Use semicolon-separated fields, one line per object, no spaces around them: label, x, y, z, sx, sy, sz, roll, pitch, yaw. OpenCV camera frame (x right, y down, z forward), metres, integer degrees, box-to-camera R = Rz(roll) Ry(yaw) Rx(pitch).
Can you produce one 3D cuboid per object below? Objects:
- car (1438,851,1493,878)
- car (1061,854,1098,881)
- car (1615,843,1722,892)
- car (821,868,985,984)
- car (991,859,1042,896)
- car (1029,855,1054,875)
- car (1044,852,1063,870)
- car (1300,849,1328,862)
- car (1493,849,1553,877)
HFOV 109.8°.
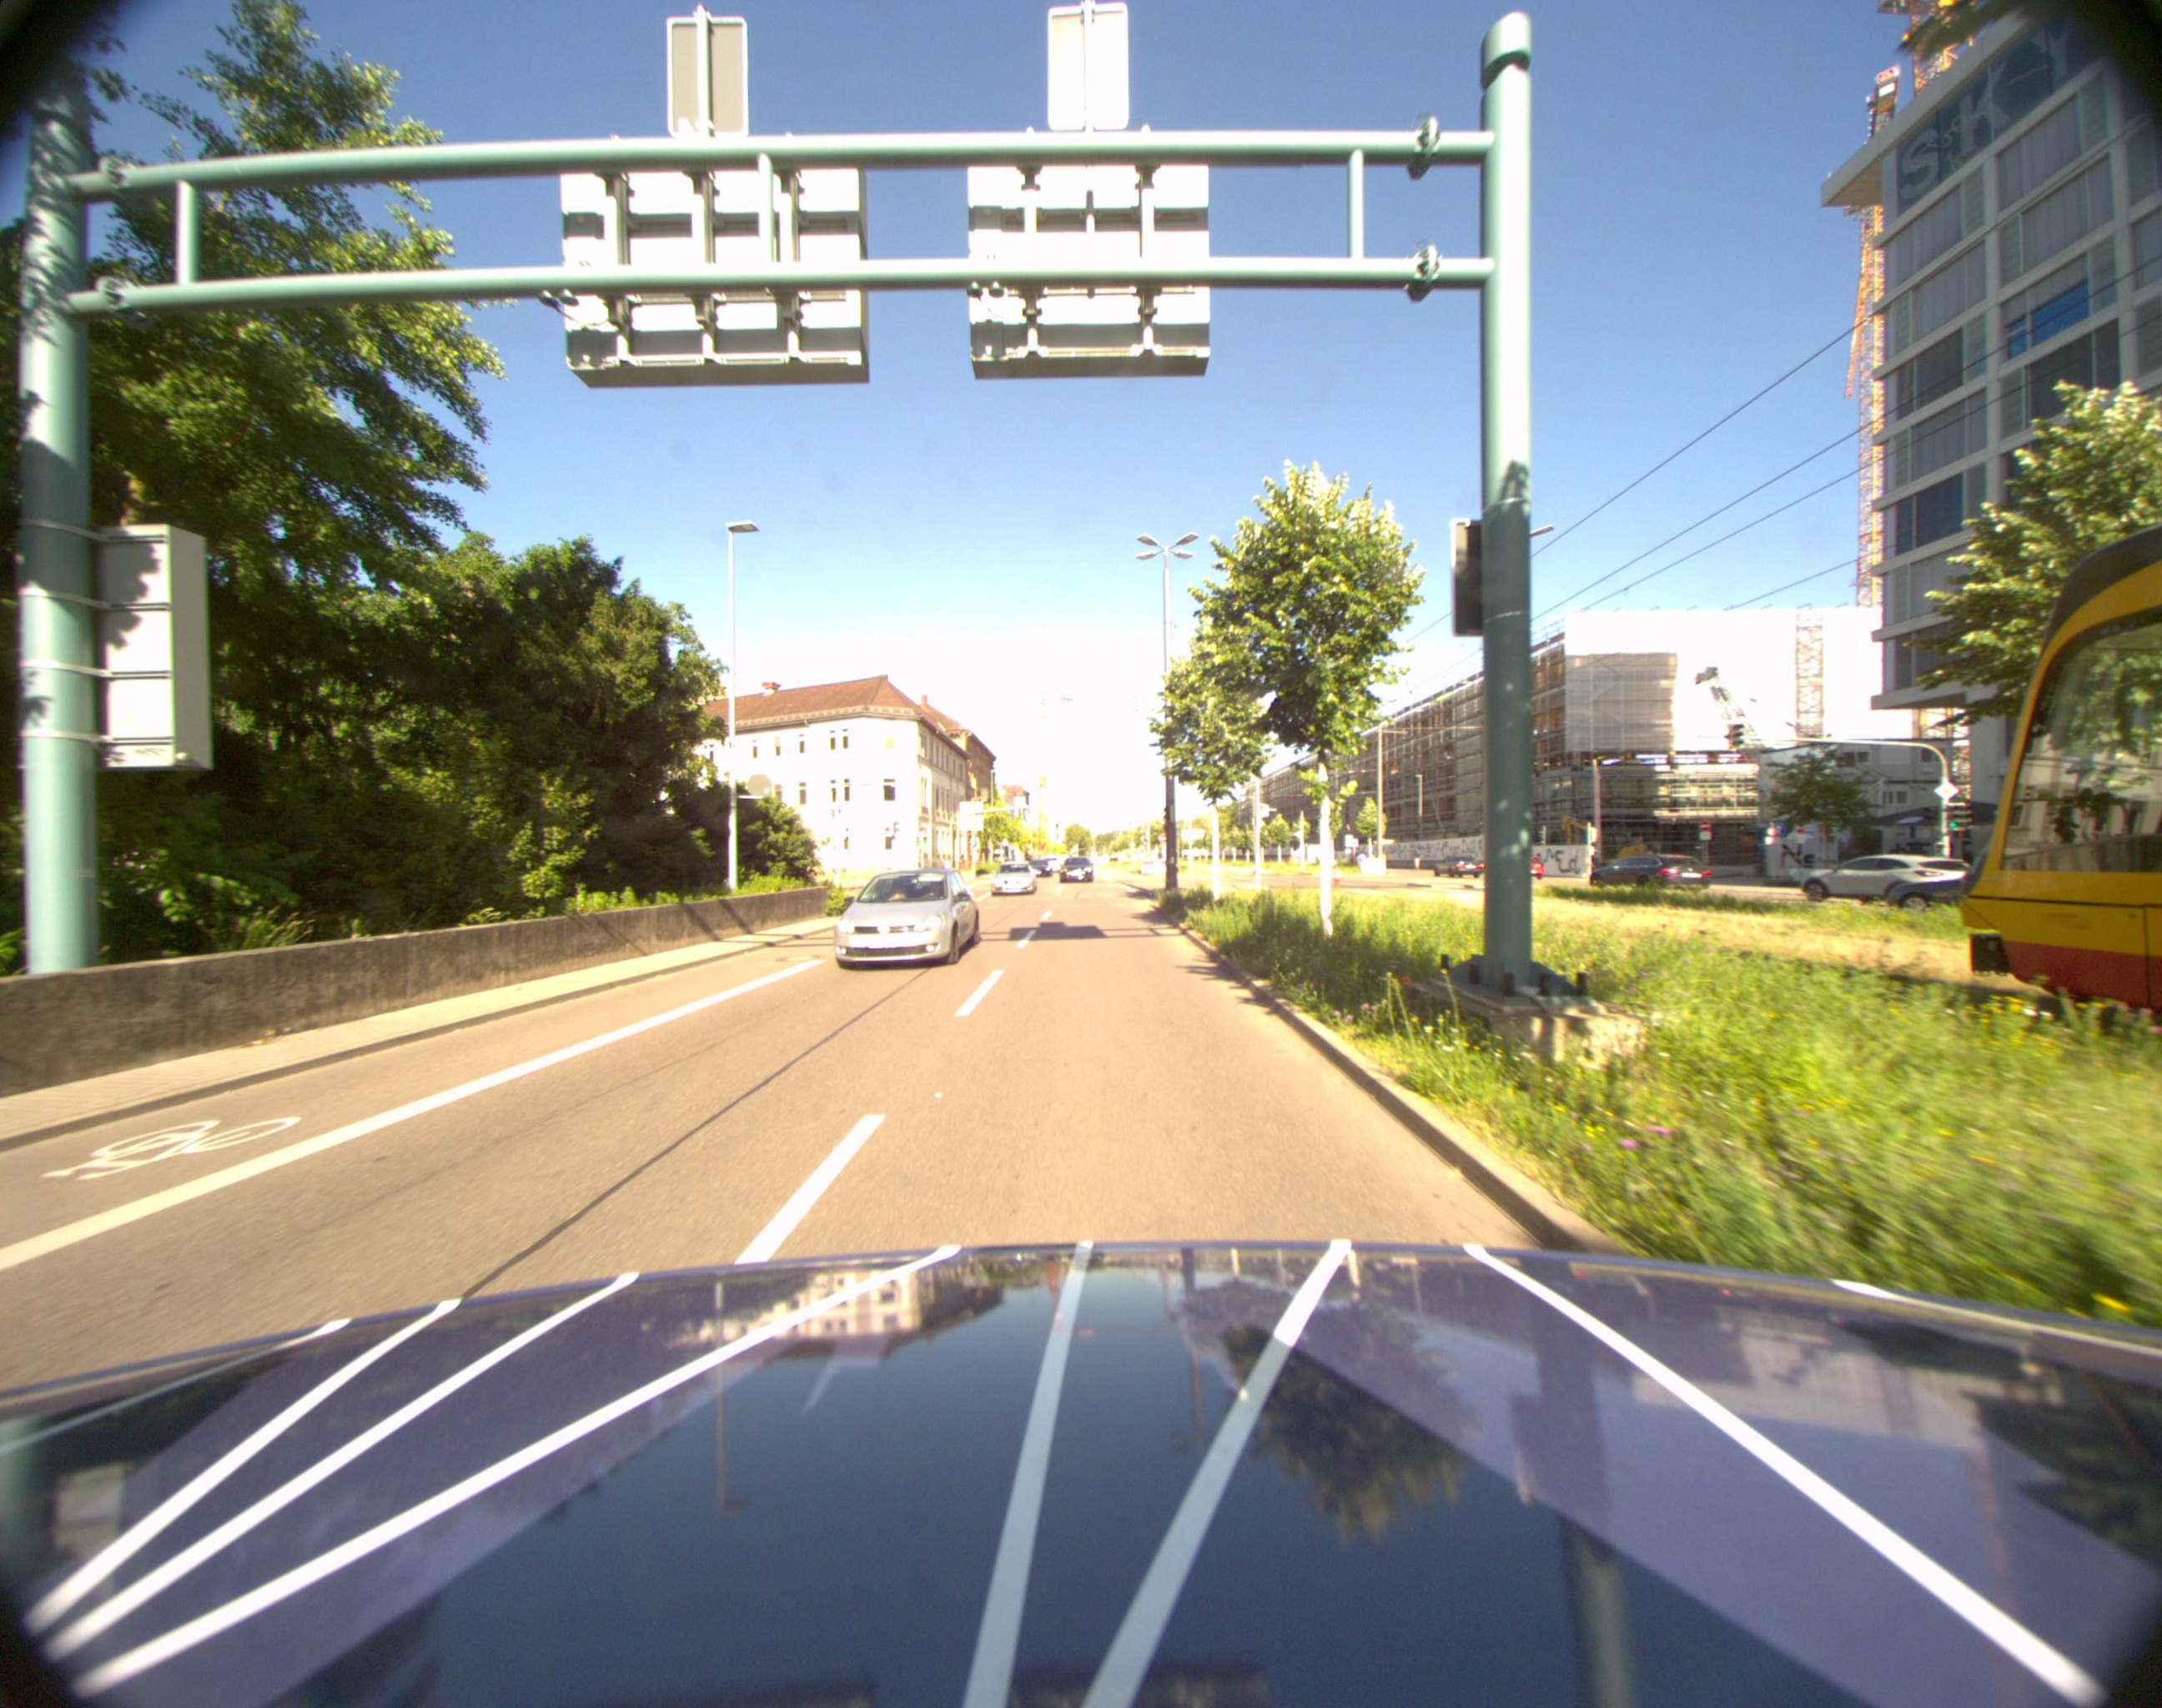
car;24.257;0.613;48.073;1.888;1.565;4.002;-2;0;9
car;-0.128;0.749;44.184;1.999;1.493;3.999;0;0;-2
car;21.791;0.465;28.386;1.776;1.664;3.893;-2;1;15
car;-2.724;1.034;12.564;1.703;1.466;4.000;-2;0;0
car;-2.762;0.989;33.468;1.839;1.415;4.000;-2;0;0
car;-3.083;0.861;59.644;1.703;1.415;4.000;-2;0;0
car;-2.661;0.645;74.135;1.703;1.622;4.000;-2;0;0
car;28.847;0.142;94.182;1.890;1.565;3.998;-2;0;-6
car;27.417;0.516;47.315;1.888;1.565;4.002;-2;0;9
